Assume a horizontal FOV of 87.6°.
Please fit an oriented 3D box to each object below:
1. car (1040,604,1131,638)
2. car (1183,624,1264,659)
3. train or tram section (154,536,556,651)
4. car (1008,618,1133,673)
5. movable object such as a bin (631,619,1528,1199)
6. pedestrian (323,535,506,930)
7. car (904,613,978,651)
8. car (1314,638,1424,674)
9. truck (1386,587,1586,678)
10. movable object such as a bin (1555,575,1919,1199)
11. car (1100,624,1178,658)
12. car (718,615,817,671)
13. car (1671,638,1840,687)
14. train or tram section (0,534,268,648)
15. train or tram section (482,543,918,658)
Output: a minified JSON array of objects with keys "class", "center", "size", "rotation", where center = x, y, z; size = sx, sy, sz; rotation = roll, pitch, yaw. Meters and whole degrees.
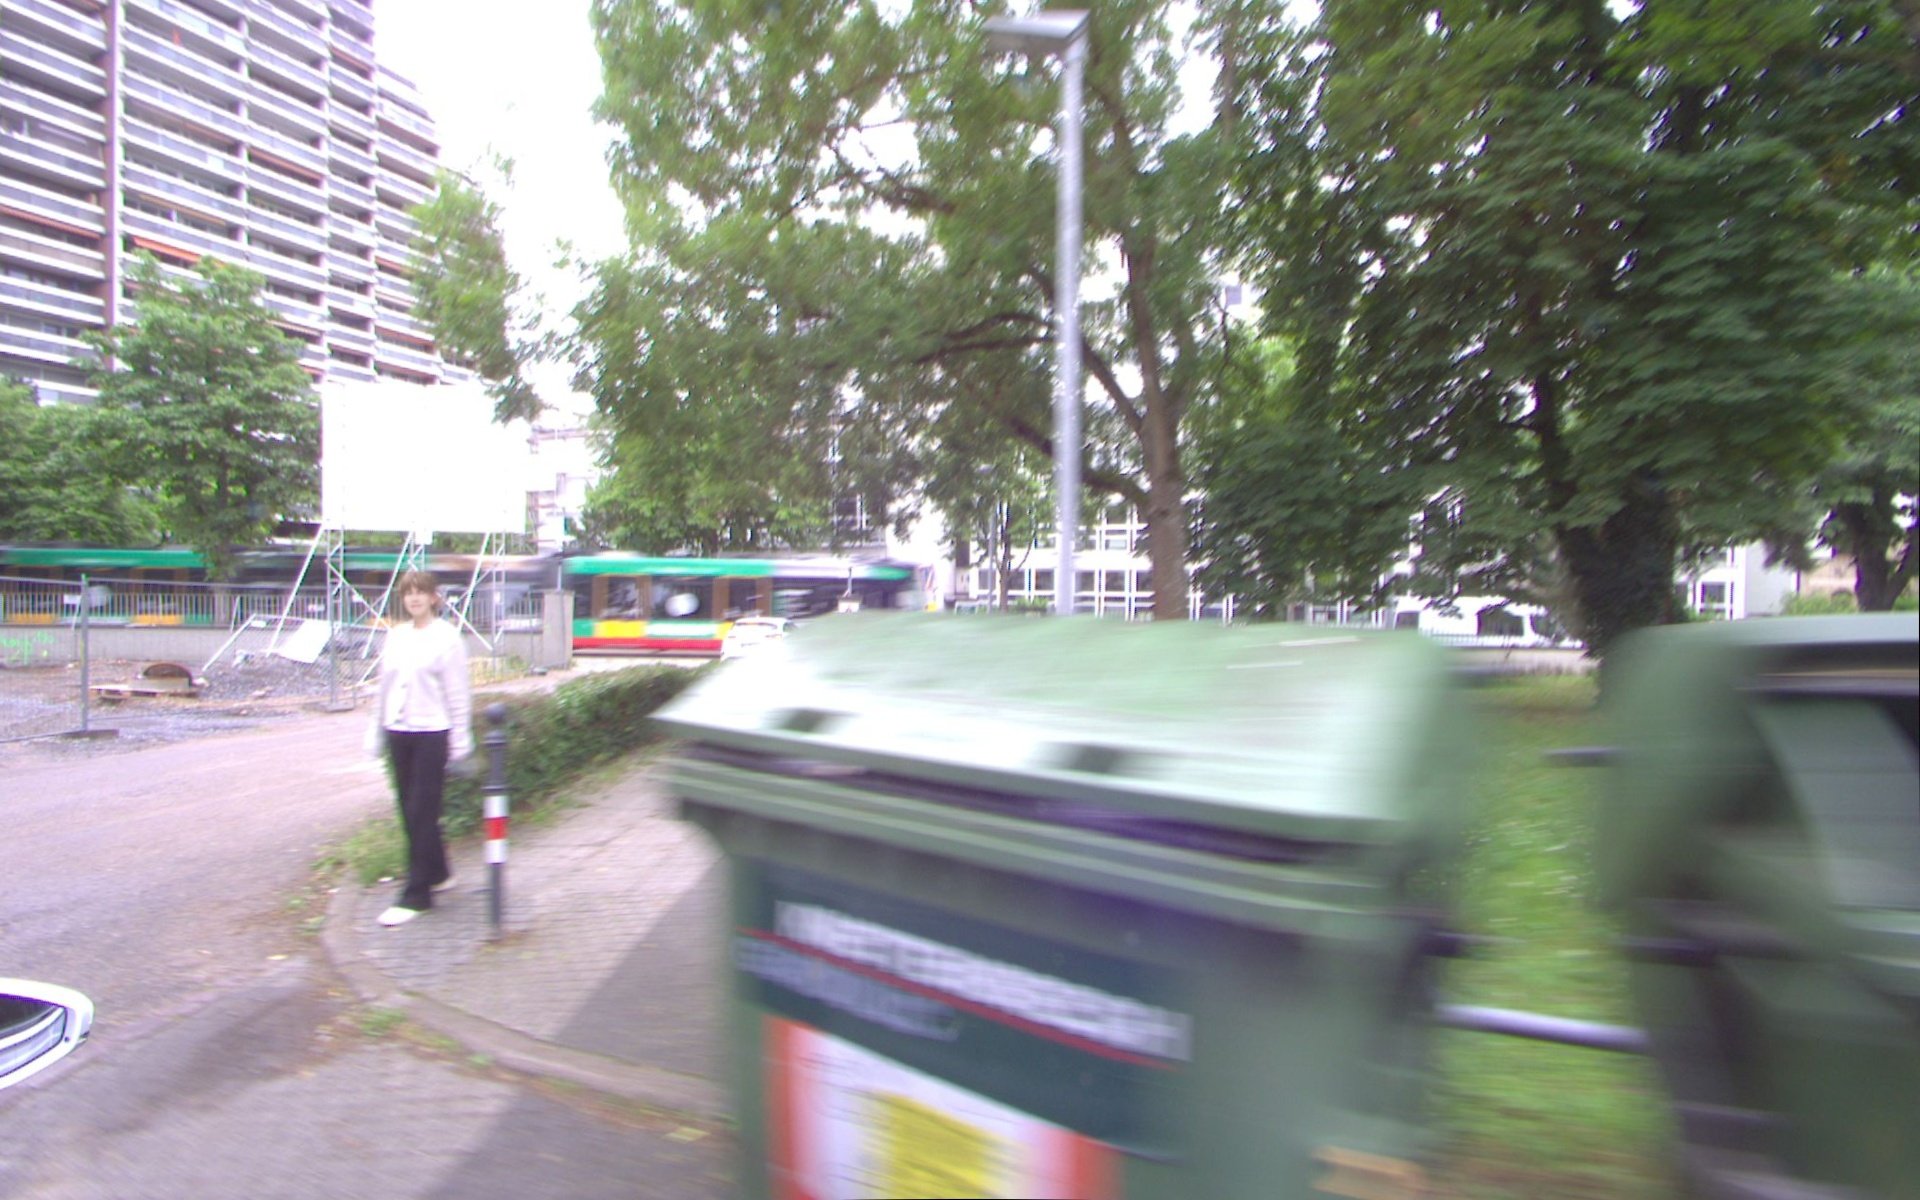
[{"class":"car","center":[5.719,0.971,45.879],"size":[3.910,1.493,1.660],"rotation":[0,-1,42]},{"class":"car","center":[12.048,1.876,45.937],"size":[1.404,1.493,3.356],"rotation":[1,-1,-45]},{"class":"train or tram section","center":[-20.708,-0.186,34.756],"size":[12.214,3.662,2.668],"rotation":[1,0,-1]},{"class":"car","center":[3.248,1.334,29.910],"size":[3.524,1.520,1.666],"rotation":[1,0,0]},{"class":"movable object such as a bin","center":[0.241,0.770,1.818],"size":[1.258,1.453,1.065],"rotation":[0,0,36]},{"class":"pedestrian","center":[-2.704,0.614,5.034],"size":[0.739,1.805,0.660],"rotation":[1,0,-24]},{"class":"car","center":[-0.872,1.426,45.503],"size":[1.541,1.639,3.376],"rotation":[1,-1,-42]},{"class":"car","center":[18.689,2.539,45.887],"size":[4.447,1.492,1.406],"rotation":[0,-4,42]},{"class":"truck","center":[15.718,0.944,30.114],"size":[4.832,2.579,2.169],"rotation":[1,0,-1]},{"class":"movable object such as a bin","center":[1.561,0.735,1.170],"size":[1.263,1.469,1.107],"rotation":[1,0,19]},{"class":"car","center":[8.216,1.860,46.191],"size":[1.404,1.493,3.356],"rotation":[1,-1,-45]},{"class":"car","center":[-5.294,1.233,28.041],"size":[1.746,1.450,3.982],"rotation":[0,-3,4]},{"class":"car","center":[23.833,1.856,30.090],"size":[3.737,1.372,1.812],"rotation":[1,0,-5]},{"class":"train or tram section","center":[-30.966,-0.310,34.540],"size":[12.214,3.662,2.668],"rotation":[1,0,-1]},{"class":"train or tram section","center":[-8.767,0.042,34.991],"size":[14.483,3.662,2.668],"rotation":[1,0,-1]}]
